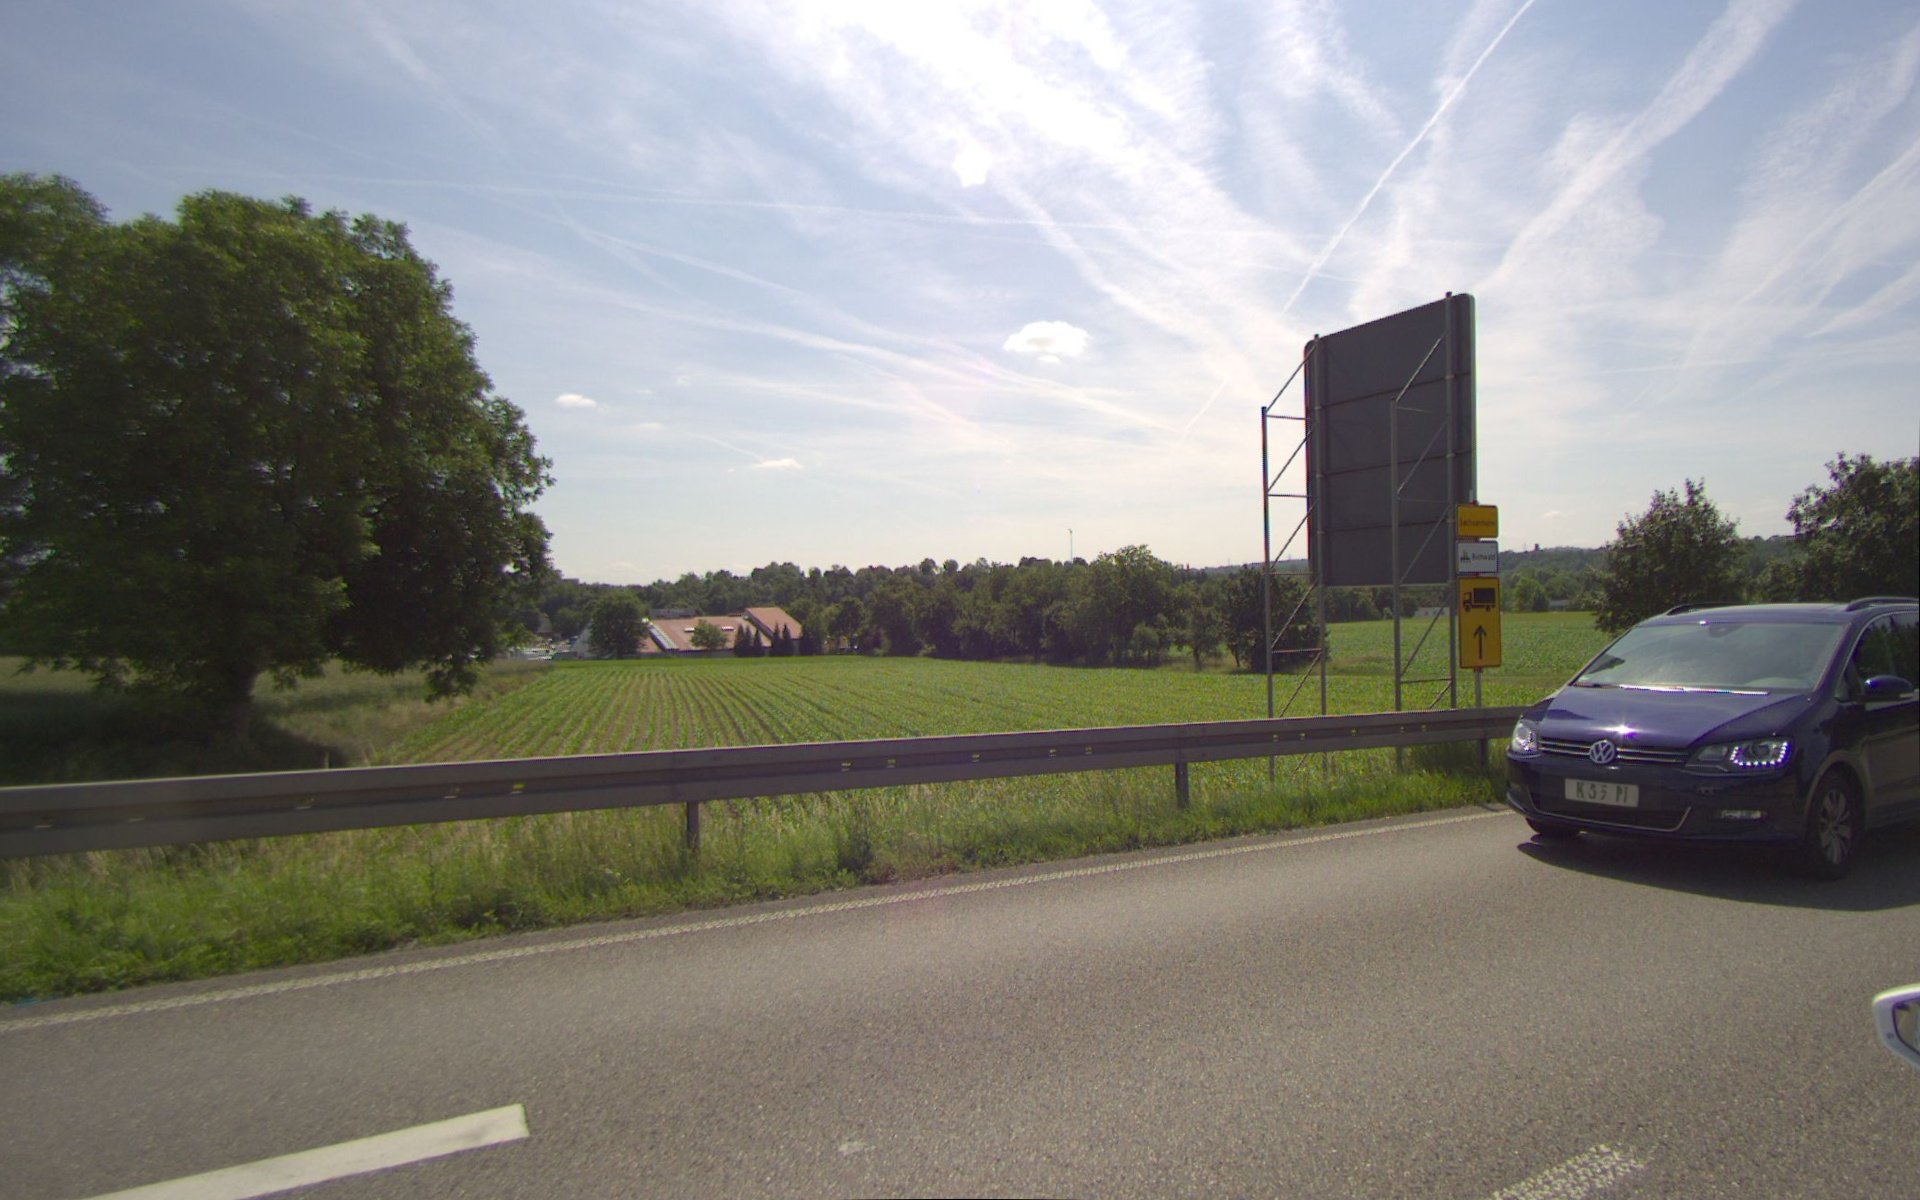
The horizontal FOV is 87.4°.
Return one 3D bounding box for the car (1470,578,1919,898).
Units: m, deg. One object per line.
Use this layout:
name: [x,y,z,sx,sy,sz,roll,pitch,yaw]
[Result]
car: [5.925,0.831,7.387,4.311,1.745,1.821,1,-3,-30]
